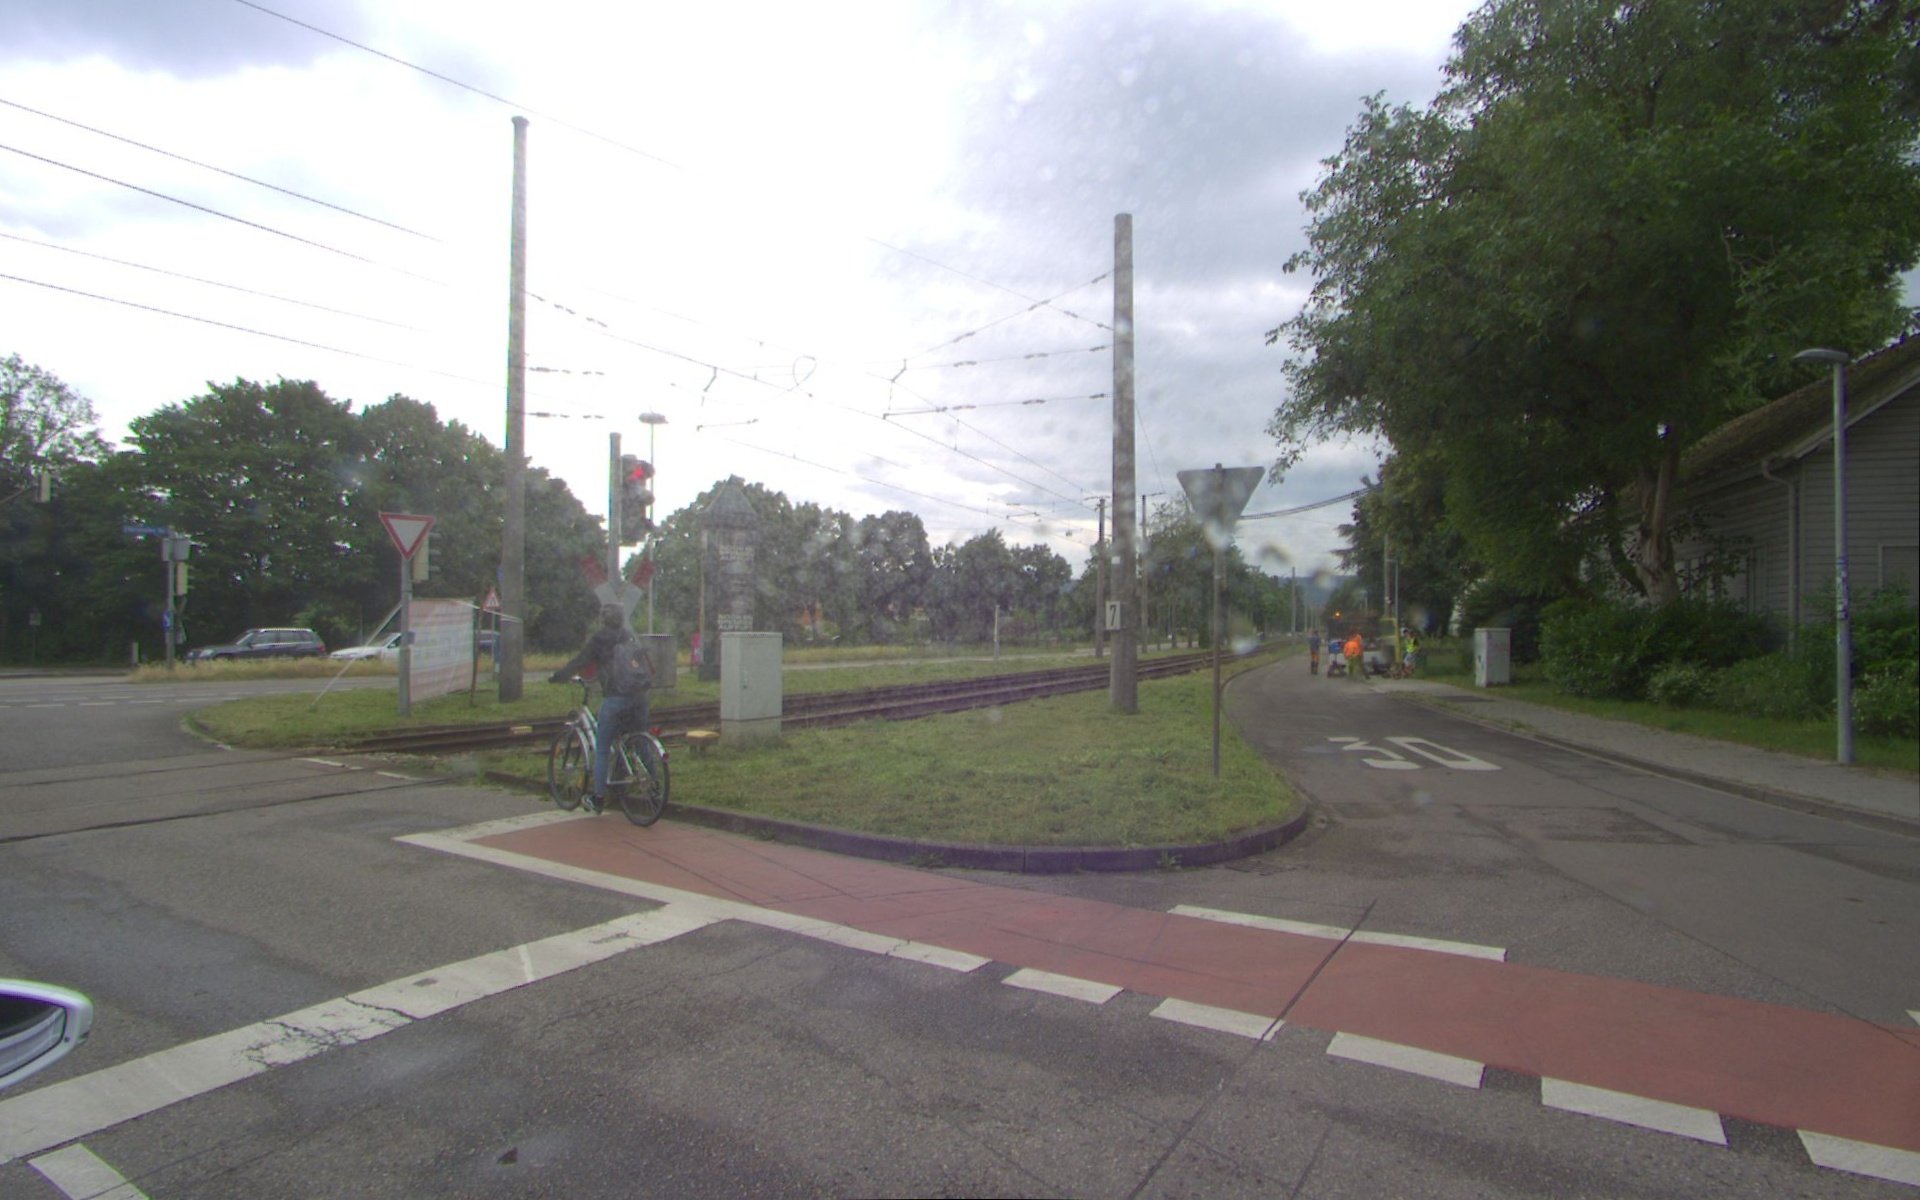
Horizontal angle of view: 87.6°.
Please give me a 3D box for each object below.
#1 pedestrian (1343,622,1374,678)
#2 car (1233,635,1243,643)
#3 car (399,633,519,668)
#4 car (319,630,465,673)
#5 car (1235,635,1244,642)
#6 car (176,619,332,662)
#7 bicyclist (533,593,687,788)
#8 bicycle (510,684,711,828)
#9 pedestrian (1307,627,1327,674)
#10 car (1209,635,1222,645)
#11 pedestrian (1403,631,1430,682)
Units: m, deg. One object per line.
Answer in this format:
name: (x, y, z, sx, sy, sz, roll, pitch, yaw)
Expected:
pedestrian: (13.849, 1.728, 34.800, 0.862, 1.878, 0.676, 1, -1, 34)
car: (55.462, 7.813, 199.837, 1.963, 1.460, 3.997, -1, -2, 16)
car: (-22.068, 2.199, 44.301, 1.820, 1.458, 4.456, 0, -2, 33)
car: (-19.644, 1.766, 34.797, 1.624, 1.374, 4.129, 0, -2, 33)
car: (61.589, 8.557, 220.743, 1.963, 1.460, 3.997, -1, -2, 16)
car: (-26.552, 1.525, 37.808, 1.820, 1.523, 4.456, 0, -2, 33)
bicyclist: (-2.779, 0.708, 7.969, 0.947, 1.441, 0.621, -1, -5, 32)
bicycle: (-2.871, 1.213, 8.113, 2.001, 0.993, 0.382, -1, -2, 32)
pedestrian: (14.475, 2.047, 40.620, 0.757, 1.892, 0.604, 0, -1, 17)
car: (43.568, 6.800, 170.560, 1.964, 1.829, 3.996, -1, -2, 16)
pedestrian: (16.683, 2.053, 36.627, 0.598, 1.864, 0.712, 1, -1, -13)
